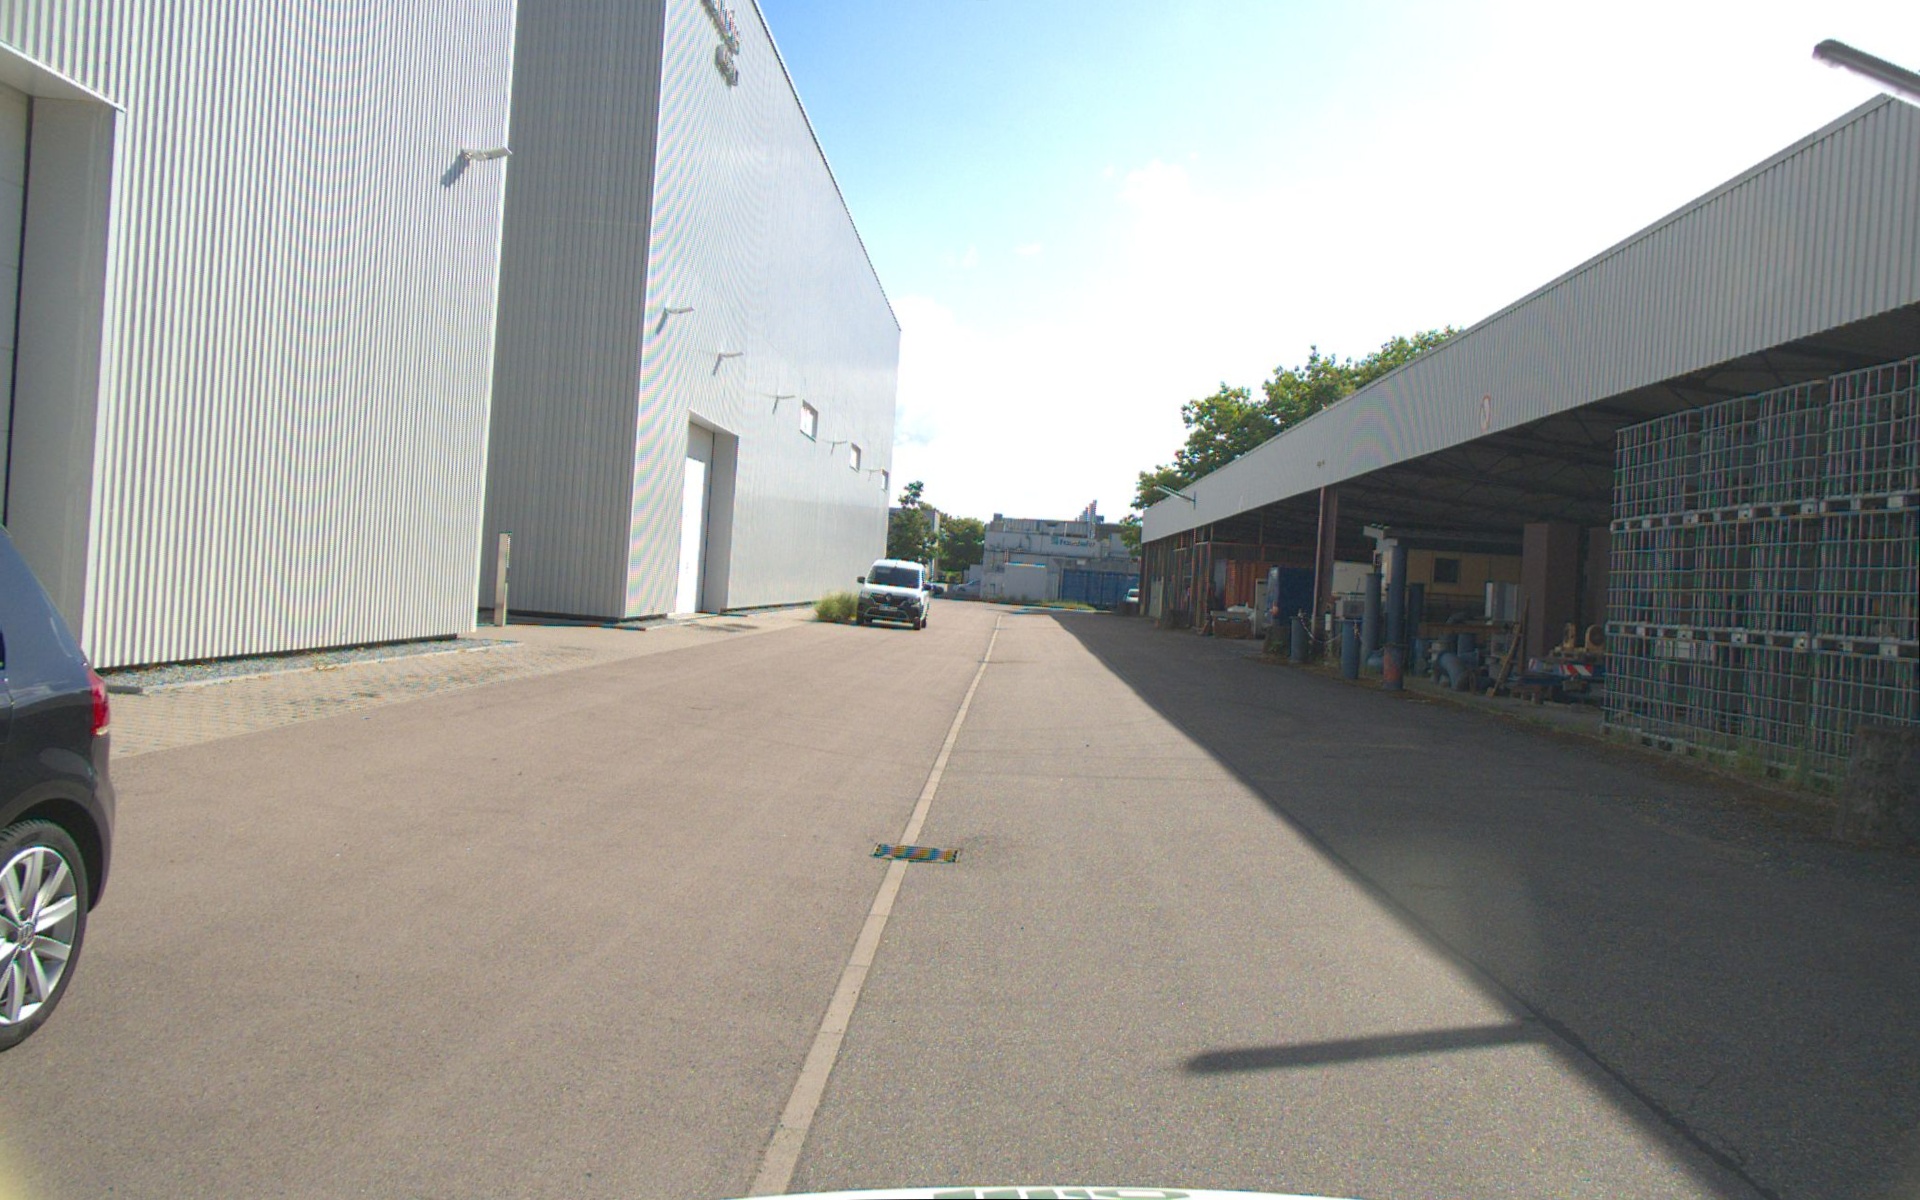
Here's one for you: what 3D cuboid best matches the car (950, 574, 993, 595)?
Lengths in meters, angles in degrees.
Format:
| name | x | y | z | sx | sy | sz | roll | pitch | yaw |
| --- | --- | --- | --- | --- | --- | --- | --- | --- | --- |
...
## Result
| name | x | y | z | sx | sy | sz | roll | pitch | yaw |
| --- | --- | --- | --- | --- | --- | --- | --- | --- | --- |
| car | 1.082 | -1.471 | 156.005 | 3.906 | 1.625 | 1.848 | 5 | -1 | 0 |

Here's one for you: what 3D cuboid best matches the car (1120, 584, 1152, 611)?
| name | x | y | z | sx | sy | sz | roll | pitch | yaw |
| --- | --- | --- | --- | --- | --- | --- | --- | --- | --- |
| car | 12.241 | -0.194 | 115.362 | 1.922 | 1.591 | 4.061 | 5 | 1 | 4 |

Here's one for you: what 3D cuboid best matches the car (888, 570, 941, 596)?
| name | x | y | z | sx | sy | sz | roll | pitch | yaw |
| --- | --- | --- | --- | --- | --- | --- | --- | --- | --- |
| car | -3.510 | -1.301 | 128.237 | 3.906 | 1.625 | 1.741 | 5 | -1 | 0 |

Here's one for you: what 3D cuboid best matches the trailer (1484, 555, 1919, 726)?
| name | x | y | z | sx | sy | sz | roll | pitch | yaw |
| --- | --- | --- | --- | --- | --- | --- | --- | --- | --- |
| trailer | 10.734 | 0.543 | 23.824 | 5.646 | 2.067 | 2.079 | 3 | 1 | 3 |

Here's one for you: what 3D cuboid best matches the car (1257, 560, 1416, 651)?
| name | x | y | z | sx | sy | sz | roll | pitch | yaw |
| --- | --- | --- | --- | --- | --- | --- | --- | --- | --- |
| car | 11.540 | 0.187 | 50.863 | 4.342 | 2.349 | 1.916 | 5 | -1 | 2 |

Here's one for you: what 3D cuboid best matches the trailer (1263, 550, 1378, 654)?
| name | x | y | z | sx | sy | sz | roll | pitch | yaw |
| --- | --- | --- | --- | --- | --- | --- | --- | --- | --- |
| trailer | 9.151 | 0.053 | 42.138 | 2.471 | 2.440 | 1.727 | 3 | 0 | 2 |

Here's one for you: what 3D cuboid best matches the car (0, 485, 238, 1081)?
| name | x | y | z | sx | sy | sz | roll | pitch | yaw |
| --- | --- | --- | --- | --- | --- | --- | --- | --- | --- |
| car | -3.297 | 0.407 | 3.157 | 1.719 | 1.525 | 4.295 | 5 | 1 | 2 |

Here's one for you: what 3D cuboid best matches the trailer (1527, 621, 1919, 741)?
| name | x | y | z | sx | sy | sz | roll | pitch | yaw |
| --- | --- | --- | --- | --- | --- | --- | --- | --- | --- |
| trailer | 10.314 | 1.018 | 20.628 | 5.728 | 1.152 | 2.141 | 3 | 1 | 0 |

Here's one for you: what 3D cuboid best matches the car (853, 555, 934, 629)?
| name | x | y | z | sx | sy | sz | roll | pitch | yaw |
| --- | --- | --- | --- | --- | --- | --- | --- | --- | --- |
| car | -1.791 | -0.251 | 45.915 | 1.781 | 1.817 | 4.407 | 5 | 1 | 2 |
